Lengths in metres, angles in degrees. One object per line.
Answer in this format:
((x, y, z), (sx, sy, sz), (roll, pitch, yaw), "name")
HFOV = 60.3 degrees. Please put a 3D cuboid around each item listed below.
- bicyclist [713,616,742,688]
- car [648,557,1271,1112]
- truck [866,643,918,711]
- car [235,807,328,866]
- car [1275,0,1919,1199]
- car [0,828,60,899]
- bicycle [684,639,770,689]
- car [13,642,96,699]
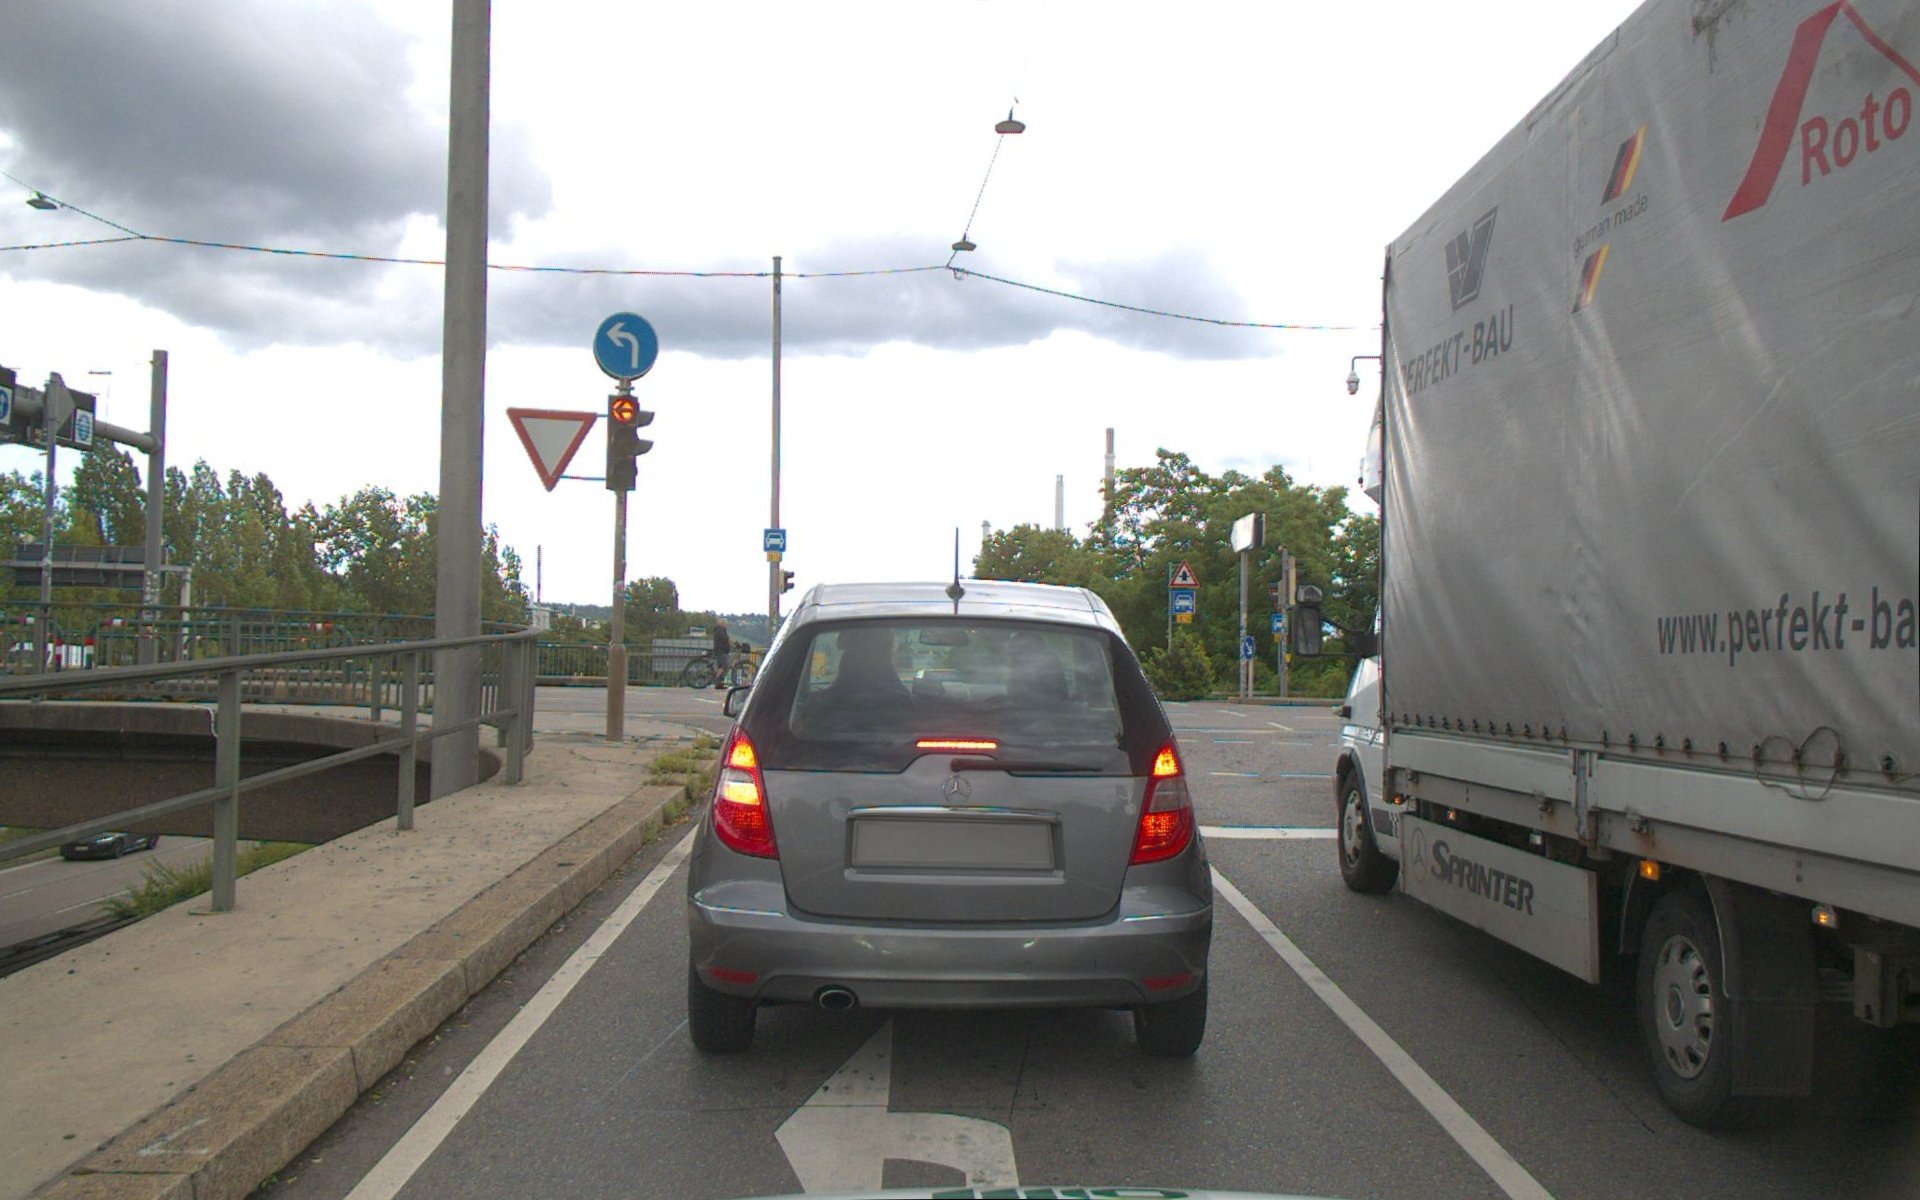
((-5.616, 1.250, 39.948), (0.641, 1.703, 0.867), (0, 0, -11), "bicyclist")
((0.042, 0.658, 6.851), (1.819, 1.616, 4.001), (0, 1, 1), "car")
((-4.229, 4.615, 101.074), (2.735, 3.580, 10.237), (0, 0, -5), "truck")
((-24.434, 8.490, 59.712), (1.743, 1.525, 3.997), (0, 0, -1), "car")
((3.210, -0.202, 6.282), (2.604, 3.388, 7.089), (1, 0, -1), "car")
((-30.431, 8.325, 52.188), (1.895, 1.672, 4.106), (0, 0, -1), "car")
((-5.628, 1.541, 39.934), (1.996, 1.144, 0.927), (0, 0, -12), "bicycle")
((-38.958, 3.018, 71.242), (1.819, 2.254, 3.659), (0, 0, -5), "car")
